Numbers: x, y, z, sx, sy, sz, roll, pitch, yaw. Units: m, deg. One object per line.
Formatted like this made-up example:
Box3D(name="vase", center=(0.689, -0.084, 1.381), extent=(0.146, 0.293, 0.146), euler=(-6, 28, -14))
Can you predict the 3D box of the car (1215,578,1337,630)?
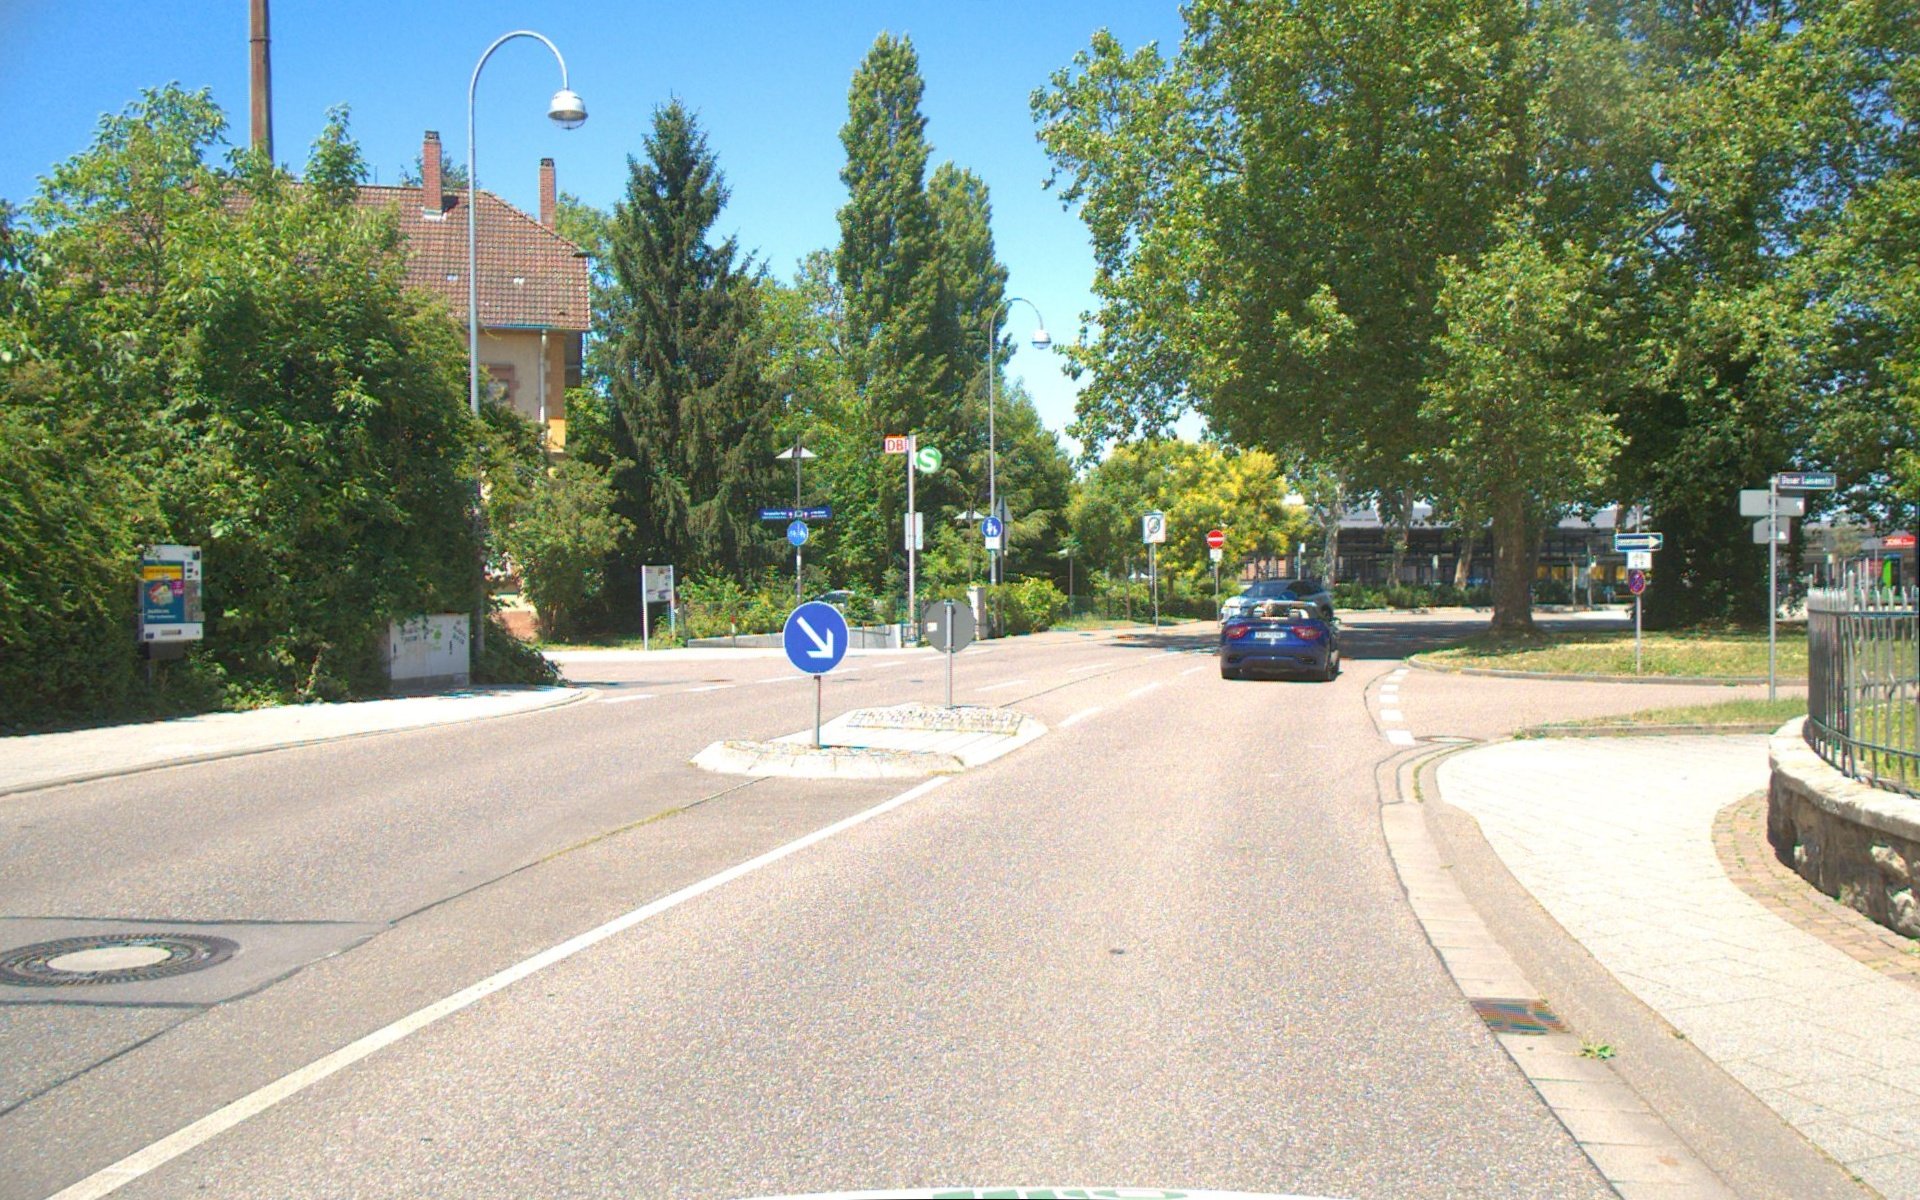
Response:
Box3D(name="car", center=(9.875, 0.088, 51.457), extent=(1.817, 1.557, 4.314), euler=(1, 1, 41))
